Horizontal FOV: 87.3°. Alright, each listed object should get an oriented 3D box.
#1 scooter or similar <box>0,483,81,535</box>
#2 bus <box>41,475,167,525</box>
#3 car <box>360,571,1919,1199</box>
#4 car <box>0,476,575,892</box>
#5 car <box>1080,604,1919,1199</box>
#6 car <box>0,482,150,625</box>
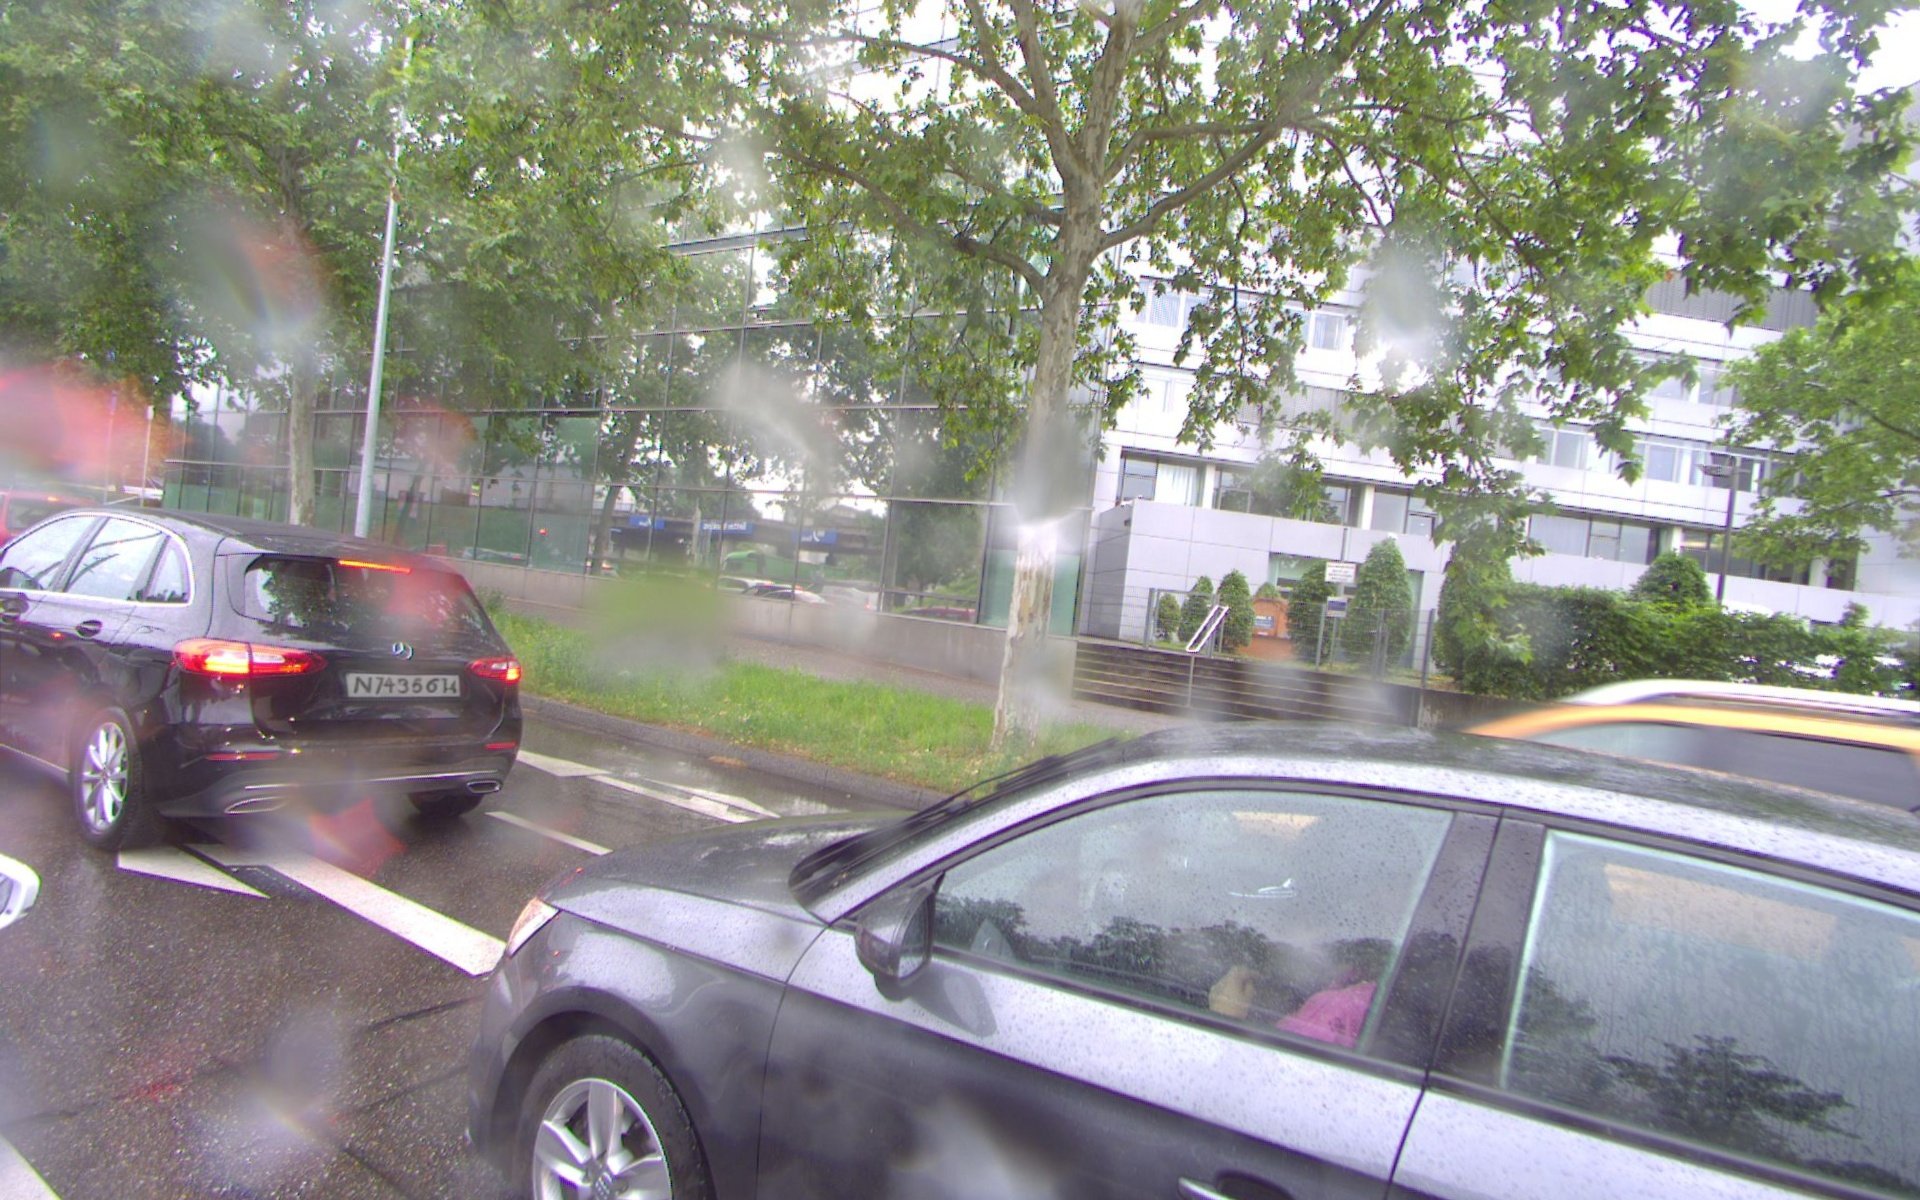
[{"bbox_3d":[-54.532,-5.403,58.165,5.228,2.476,1.893,7,0,-9],"label":"scooter or similar"},{"bbox_3d":[-83.376,-9.628,98.418,2.438,3.465,12.001,7,0,-3],"label":"bus"},{"bbox_3d":[0.667,0.909,2.125,3.718,1.445,1.679,7,-1,31],"label":"car"},{"bbox_3d":[-4.344,0.251,5.767,4.022,1.573,1.751,7,-1,31],"label":"car"},{"bbox_3d":[2.836,1.184,4.430,4.079,1.704,1.679,8,-2,32],"label":"car"},{"bbox_3d":[-13.808,-0.769,14.643,4.201,1.714,1.714,6,-2,32],"label":"car"}]
